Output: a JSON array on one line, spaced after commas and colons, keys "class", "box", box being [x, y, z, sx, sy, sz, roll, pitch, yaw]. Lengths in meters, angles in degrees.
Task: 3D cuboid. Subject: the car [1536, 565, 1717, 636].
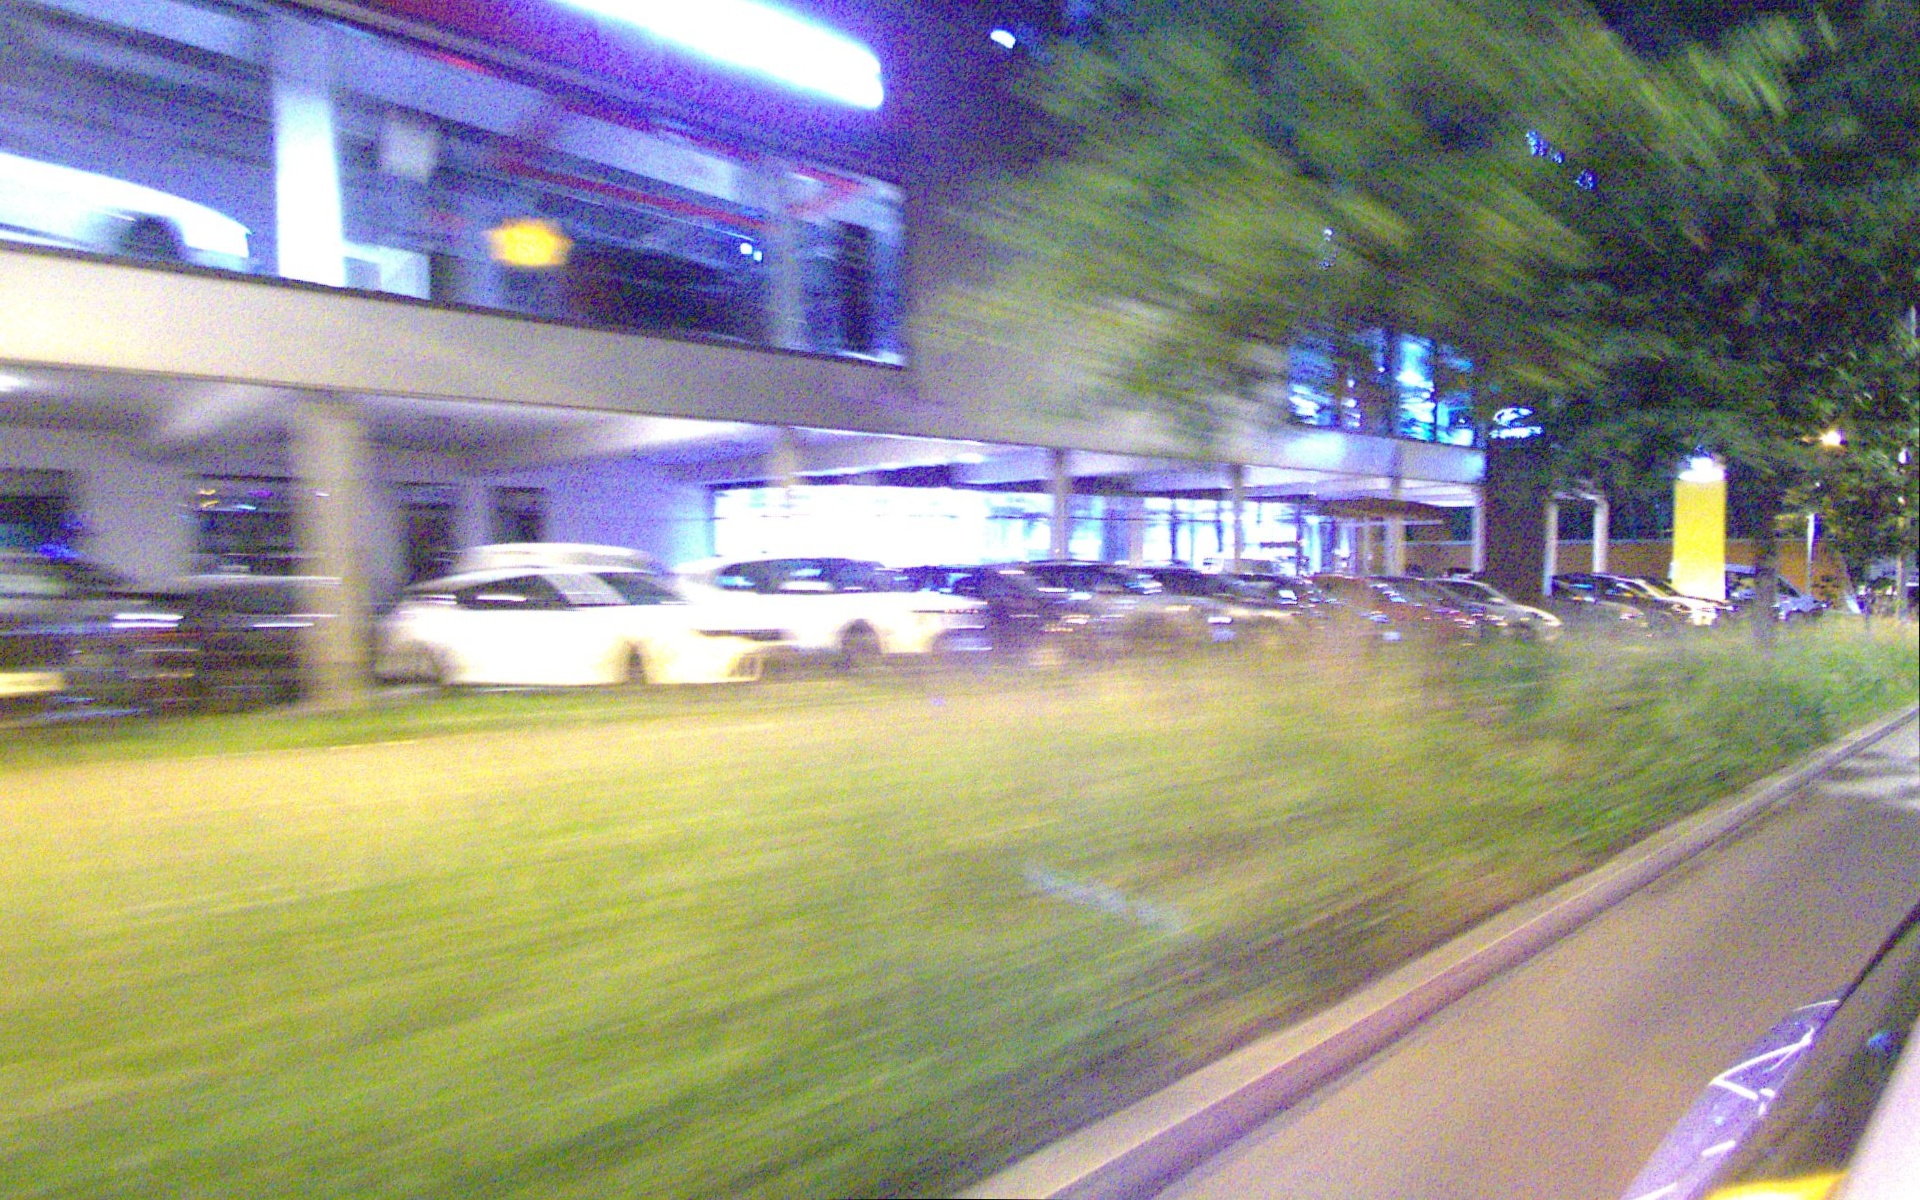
[{"class": "car", "box": [19.158, -0.034, 29.187, 4.078, 1.587, 1.828, 7, 5, 40]}]

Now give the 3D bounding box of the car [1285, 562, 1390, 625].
[{"class": "car", "box": [10.441, -0.242, 28.262, 1.961, 1.548, 3.990, 3, 2, 10]}]

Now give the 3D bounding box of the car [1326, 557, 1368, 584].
[{"class": "car", "box": [21.365, -1.631, 55.782, 1.643, 1.352, 3.842, 3, 3, 28]}]

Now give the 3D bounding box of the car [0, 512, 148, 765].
[{"class": "car", "box": [-7.234, 0.210, 6.804, 4.112, 1.438, 1.852, 0, 1, 37]}]

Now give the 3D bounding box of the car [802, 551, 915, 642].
[{"class": "car", "box": [-1.790, -0.086, 18.600, 1.300, 1.505, 3.065, 1, 1, 9]}]

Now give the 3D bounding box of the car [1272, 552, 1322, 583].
[{"class": "car", "box": [19.179, -1.832, 57.437, 1.981, 1.682, 4.623, 1, 2, 28]}]

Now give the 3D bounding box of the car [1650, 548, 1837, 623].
[{"class": "car", "box": [33.550, -0.705, 43.649, 6.001, 2.559, 2.256, 8, 5, 34]}]

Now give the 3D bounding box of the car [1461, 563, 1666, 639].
[{"class": "car", "box": [16.356, -0.042, 27.560, 4.461, 1.565, 1.744, 8, 6, 41]}]

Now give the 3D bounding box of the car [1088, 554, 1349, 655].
[{"class": "car", "box": [4.401, 0.030, 17.298, 3.965, 1.409, 1.808, 4, 1, 29]}]

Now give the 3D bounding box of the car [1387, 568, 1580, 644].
[{"class": "car", "box": [12.423, 0.089, 24.113, 3.794, 1.470, 1.695, 5, 3, 37]}]

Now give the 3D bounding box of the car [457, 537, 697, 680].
[{"class": "car", "box": [-5.458, -0.014, 14.984, 1.563, 1.817, 3.862, 0, 4, 10]}]

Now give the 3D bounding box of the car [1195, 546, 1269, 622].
[{"class": "car", "box": [7.521, -0.460, 28.309, 1.808, 1.942, 4.808, 0, 1, 13]}]

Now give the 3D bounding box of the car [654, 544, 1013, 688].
[{"class": "car", "box": [-1.555, 0.119, 12.010, 3.972, 1.442, 1.886, 2, 0, 33]}]

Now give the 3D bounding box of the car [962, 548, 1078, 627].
[{"class": "car", "box": [1.355, -0.283, 21.314, 1.604, 1.482, 3.775, 1, 1, 17]}]

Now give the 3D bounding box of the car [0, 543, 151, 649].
[{"class": "car", "box": [-15.860, -0.104, 17.086, 1.634, 1.660, 3.248, 5, 6, 44]}]

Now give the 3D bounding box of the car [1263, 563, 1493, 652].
[{"class": "car", "box": [8.527, 0.079, 20.767, 4.012, 1.390, 1.803, 6, 4, 35]}]

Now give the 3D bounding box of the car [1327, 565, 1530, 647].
[{"class": "car", "box": [10.381, 0.070, 22.539, 3.762, 1.395, 1.693, 7, 5, 38]}]

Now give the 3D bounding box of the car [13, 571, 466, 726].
[{"class": "car", "box": [-8.305, 0.409, 12.247, 1.753, 1.426, 4.319, 1, 3, 16]}]

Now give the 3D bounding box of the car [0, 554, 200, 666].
[{"class": "car", "box": [-13.911, 0.107, 15.523, 1.634, 1.531, 3.363, 3, 5, 44]}]

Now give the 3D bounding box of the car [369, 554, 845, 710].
[{"class": "car", "box": [-3.642, 0.220, 10.340, 4.598, 1.280, 1.930, 2, 0, 26]}]

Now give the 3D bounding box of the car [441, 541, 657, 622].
[{"class": "car", "box": [-8.979, -0.405, 22.193, 4.257, 1.675, 1.651, 0, 1, 14]}]

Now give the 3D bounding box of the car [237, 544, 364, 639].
[{"class": "car", "box": [-12.783, -0.244, 19.535, 1.717, 1.604, 3.489, -3, 5, -38]}]

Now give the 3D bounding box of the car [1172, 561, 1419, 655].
[{"class": "car", "box": [6.204, 0.088, 18.946, 3.984, 1.397, 1.782, 5, 3, 40]}]

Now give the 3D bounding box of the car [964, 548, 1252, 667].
[{"class": "car", "box": [2.241, 0.035, 15.596, 3.970, 1.488, 1.813, 4, 3, 32]}]

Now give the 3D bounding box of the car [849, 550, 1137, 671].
[{"class": "car", "box": [0.437, 0.091, 13.778, 3.579, 1.451, 1.664, 1, 1, 27]}]

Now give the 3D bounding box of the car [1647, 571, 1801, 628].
[{"class": "car", "box": [27.199, -0.058, 36.087, 4.199, 1.683, 1.933, 5, 4, 40]}]

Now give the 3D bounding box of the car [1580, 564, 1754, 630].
[{"class": "car", "box": [23.166, -0.158, 33.234, 4.457, 1.832, 1.971, 5, 3, 40]}]

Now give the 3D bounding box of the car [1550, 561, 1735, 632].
[{"class": "car", "box": [21.095, -0.171, 31.369, 4.458, 1.707, 1.971, 8, 5, 40]}]
